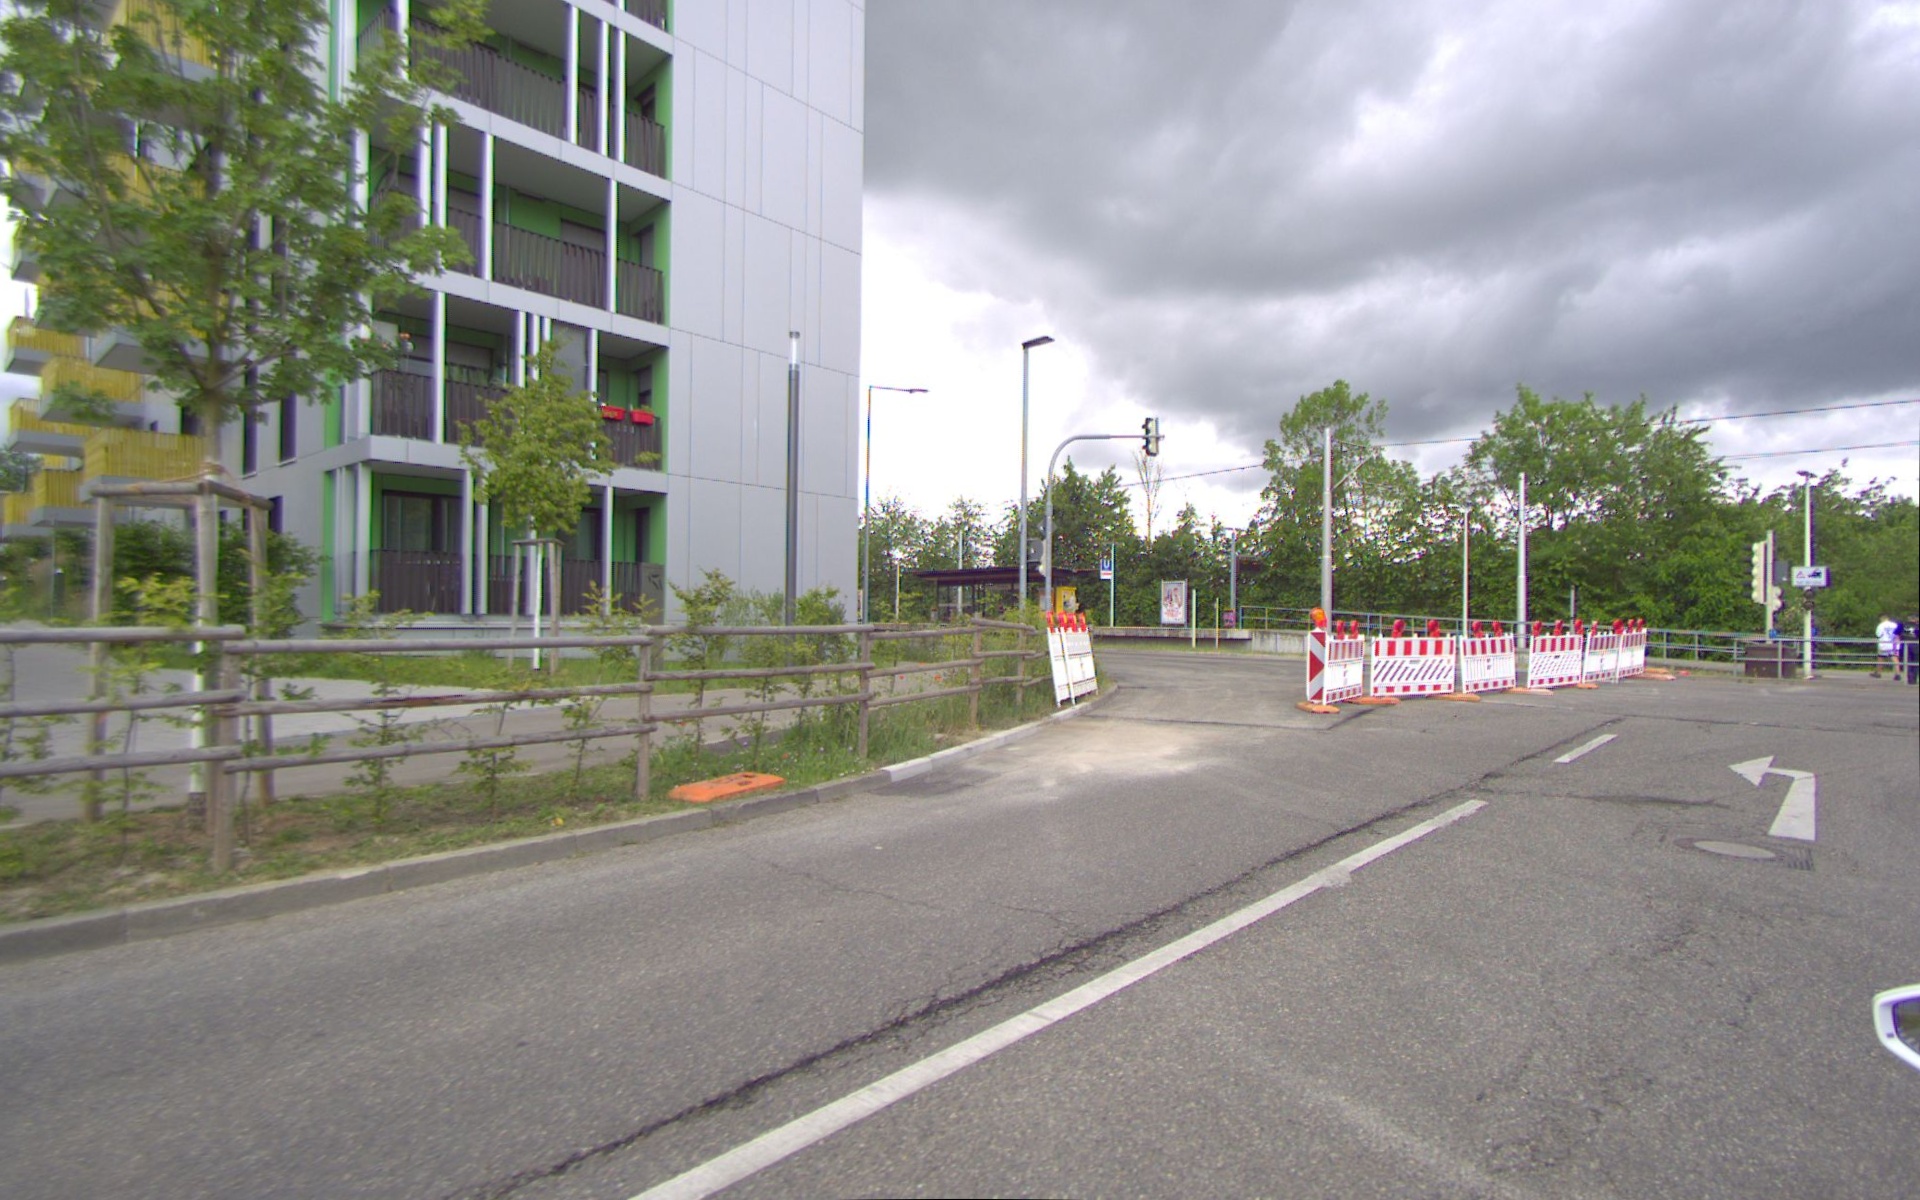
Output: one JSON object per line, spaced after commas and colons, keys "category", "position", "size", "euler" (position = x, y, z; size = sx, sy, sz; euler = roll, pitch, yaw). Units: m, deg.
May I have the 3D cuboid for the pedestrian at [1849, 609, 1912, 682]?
{"category": "pedestrian", "position": [23.098, 1.126, 25.218], "size": [0.708, 1.771, 0.958], "euler": [1, 0, 2]}
